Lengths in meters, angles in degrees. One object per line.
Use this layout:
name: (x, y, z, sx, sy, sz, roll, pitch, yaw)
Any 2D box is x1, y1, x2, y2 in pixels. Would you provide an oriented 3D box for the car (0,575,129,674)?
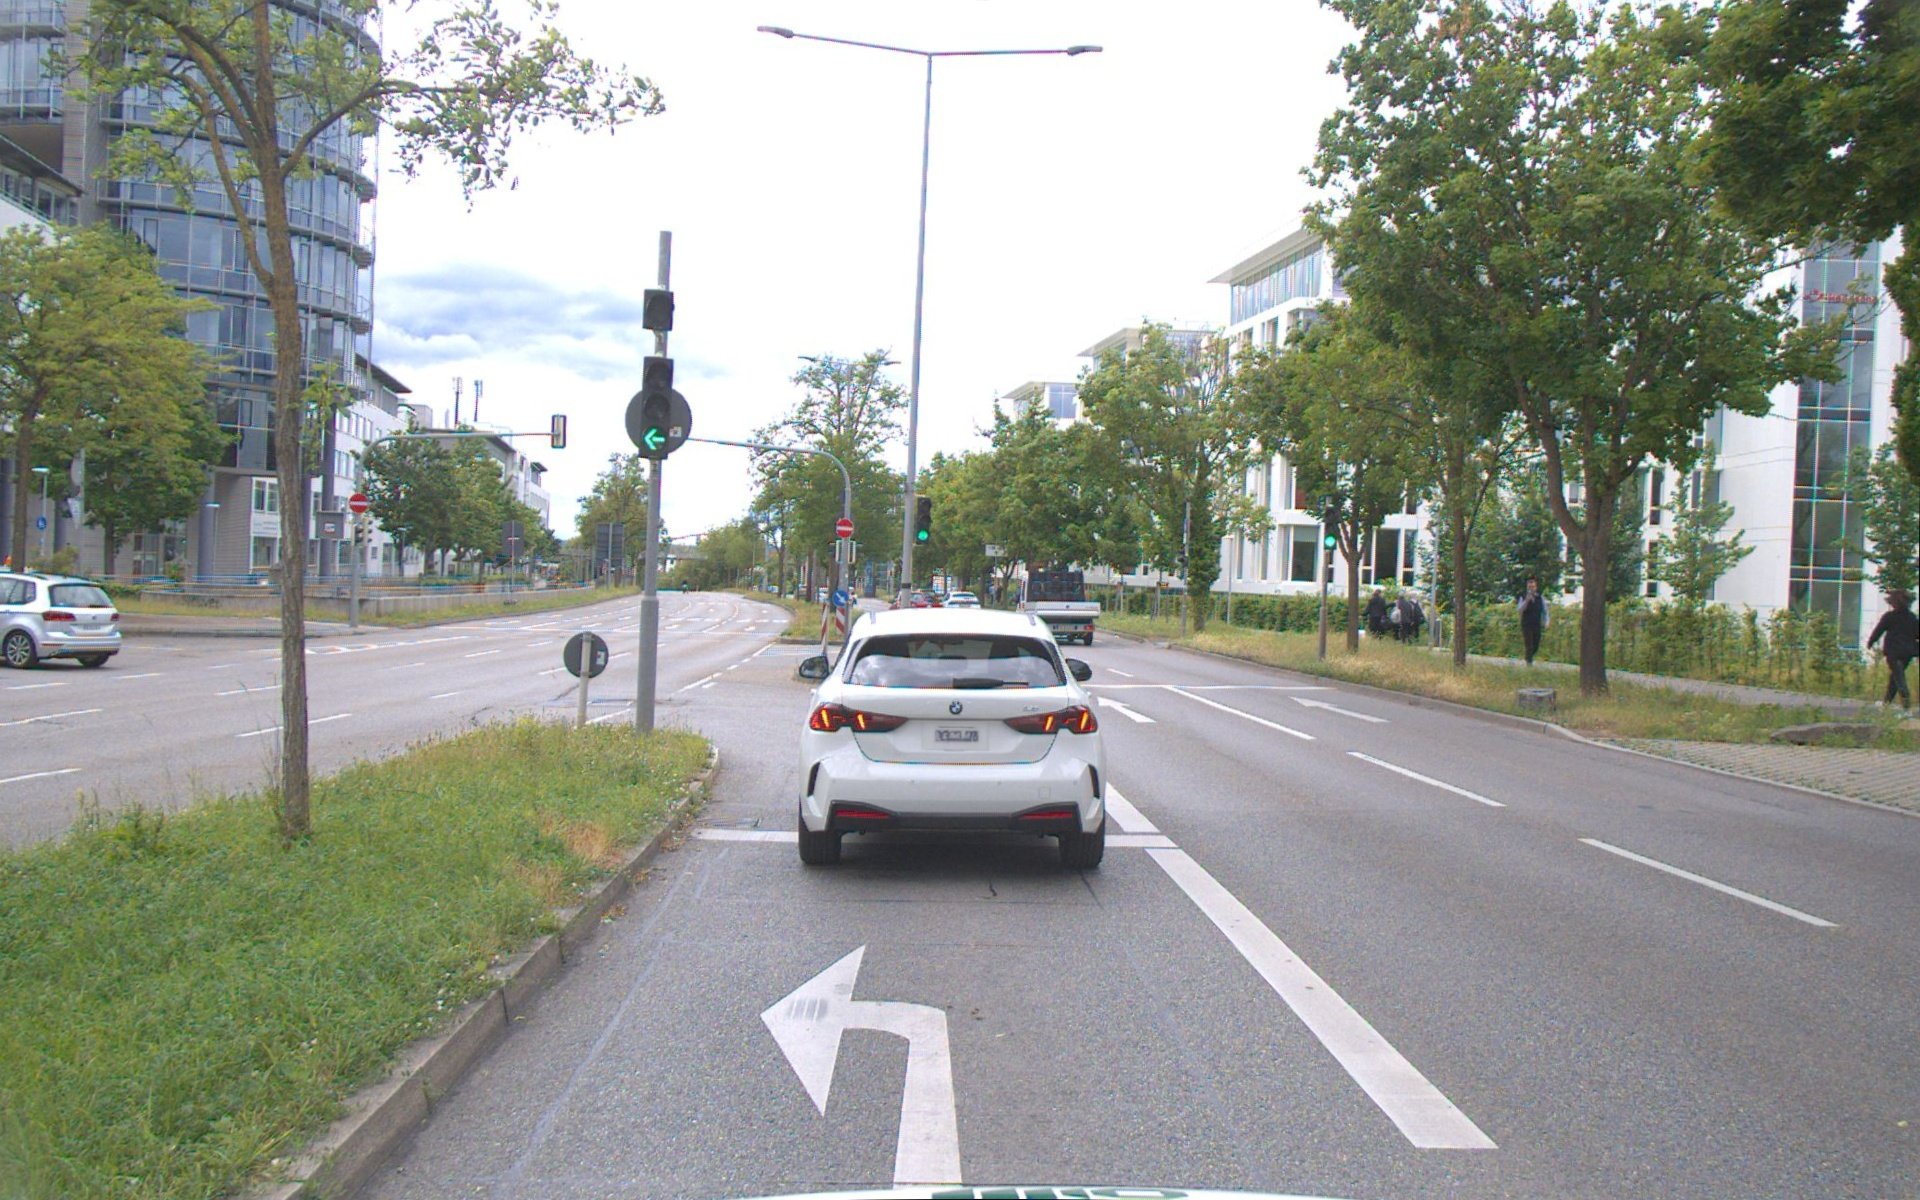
car: (-16.559, 0.371, 28.556, 3.903, 1.596, 1.555, 2, 0, 17)

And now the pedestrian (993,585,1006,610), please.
pedestrian: (3.268, -0.174, 137.000, 0.834, 2.049, 0.603, 2, 0, -15)

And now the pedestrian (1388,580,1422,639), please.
pedestrian: (12.341, 0.266, 45.892, 0.685, 1.623, 0.883, 1, -1, -1)

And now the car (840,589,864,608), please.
car: (-9.595, -0.137, 147.189, 1.820, 1.624, 4.306, 1, 0, -8)

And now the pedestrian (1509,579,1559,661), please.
pedestrian: (11.477, 0.398, 33.077, 0.726, 1.601, 0.674, 1, -1, -1)

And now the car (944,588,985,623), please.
car: (0.181, 0.248, 78.811, 1.681, 1.583, 4.087, 1, 0, -3)

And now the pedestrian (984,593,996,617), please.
pedestrian: (2.533, 0.412, 138.933, 0.749, 2.049, 0.751, 1, -1, -15)

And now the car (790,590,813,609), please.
car: (-14.798, -0.043, 154.082, 1.856, 1.624, 4.306, 2, 0, -8)

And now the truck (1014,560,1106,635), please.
truck: (3.139, -0.079, 53.362, 2.168, 2.242, 5.839, 1, 0, -4)

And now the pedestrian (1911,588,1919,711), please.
pedestrian: (13.592, 0.692, 22.519, 0.762, 1.689, 0.952, 2, 0, 5)

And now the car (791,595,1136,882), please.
car: (0.010, 0.750, 10.745, 1.785, 1.463, 3.999, 2, -1, 0)

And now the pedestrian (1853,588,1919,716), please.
pedestrian: (12.793, 0.697, 22.473, 0.779, 1.689, 1.060, 2, 0, 5)

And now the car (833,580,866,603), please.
car: (-7.888, -0.583, 117.885, 1.821, 1.624, 4.302, 1, 0, -11)

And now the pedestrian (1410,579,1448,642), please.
pedestrian: (13.081, 0.285, 46.147, 0.751, 1.715, 0.883, 1, -1, -1)

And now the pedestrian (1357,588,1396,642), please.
pedestrian: (11.573, 0.418, 46.009, 0.773, 1.473, 1.112, 1, -1, -1)

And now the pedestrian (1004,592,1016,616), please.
pedestrian: (4.164, 0.330, 138.305, 0.749, 2.049, 0.751, 1, -1, -15)

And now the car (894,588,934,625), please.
car: (-2.064, 0.290, 73.503, 1.682, 1.585, 3.856, 0, 0, -3)
